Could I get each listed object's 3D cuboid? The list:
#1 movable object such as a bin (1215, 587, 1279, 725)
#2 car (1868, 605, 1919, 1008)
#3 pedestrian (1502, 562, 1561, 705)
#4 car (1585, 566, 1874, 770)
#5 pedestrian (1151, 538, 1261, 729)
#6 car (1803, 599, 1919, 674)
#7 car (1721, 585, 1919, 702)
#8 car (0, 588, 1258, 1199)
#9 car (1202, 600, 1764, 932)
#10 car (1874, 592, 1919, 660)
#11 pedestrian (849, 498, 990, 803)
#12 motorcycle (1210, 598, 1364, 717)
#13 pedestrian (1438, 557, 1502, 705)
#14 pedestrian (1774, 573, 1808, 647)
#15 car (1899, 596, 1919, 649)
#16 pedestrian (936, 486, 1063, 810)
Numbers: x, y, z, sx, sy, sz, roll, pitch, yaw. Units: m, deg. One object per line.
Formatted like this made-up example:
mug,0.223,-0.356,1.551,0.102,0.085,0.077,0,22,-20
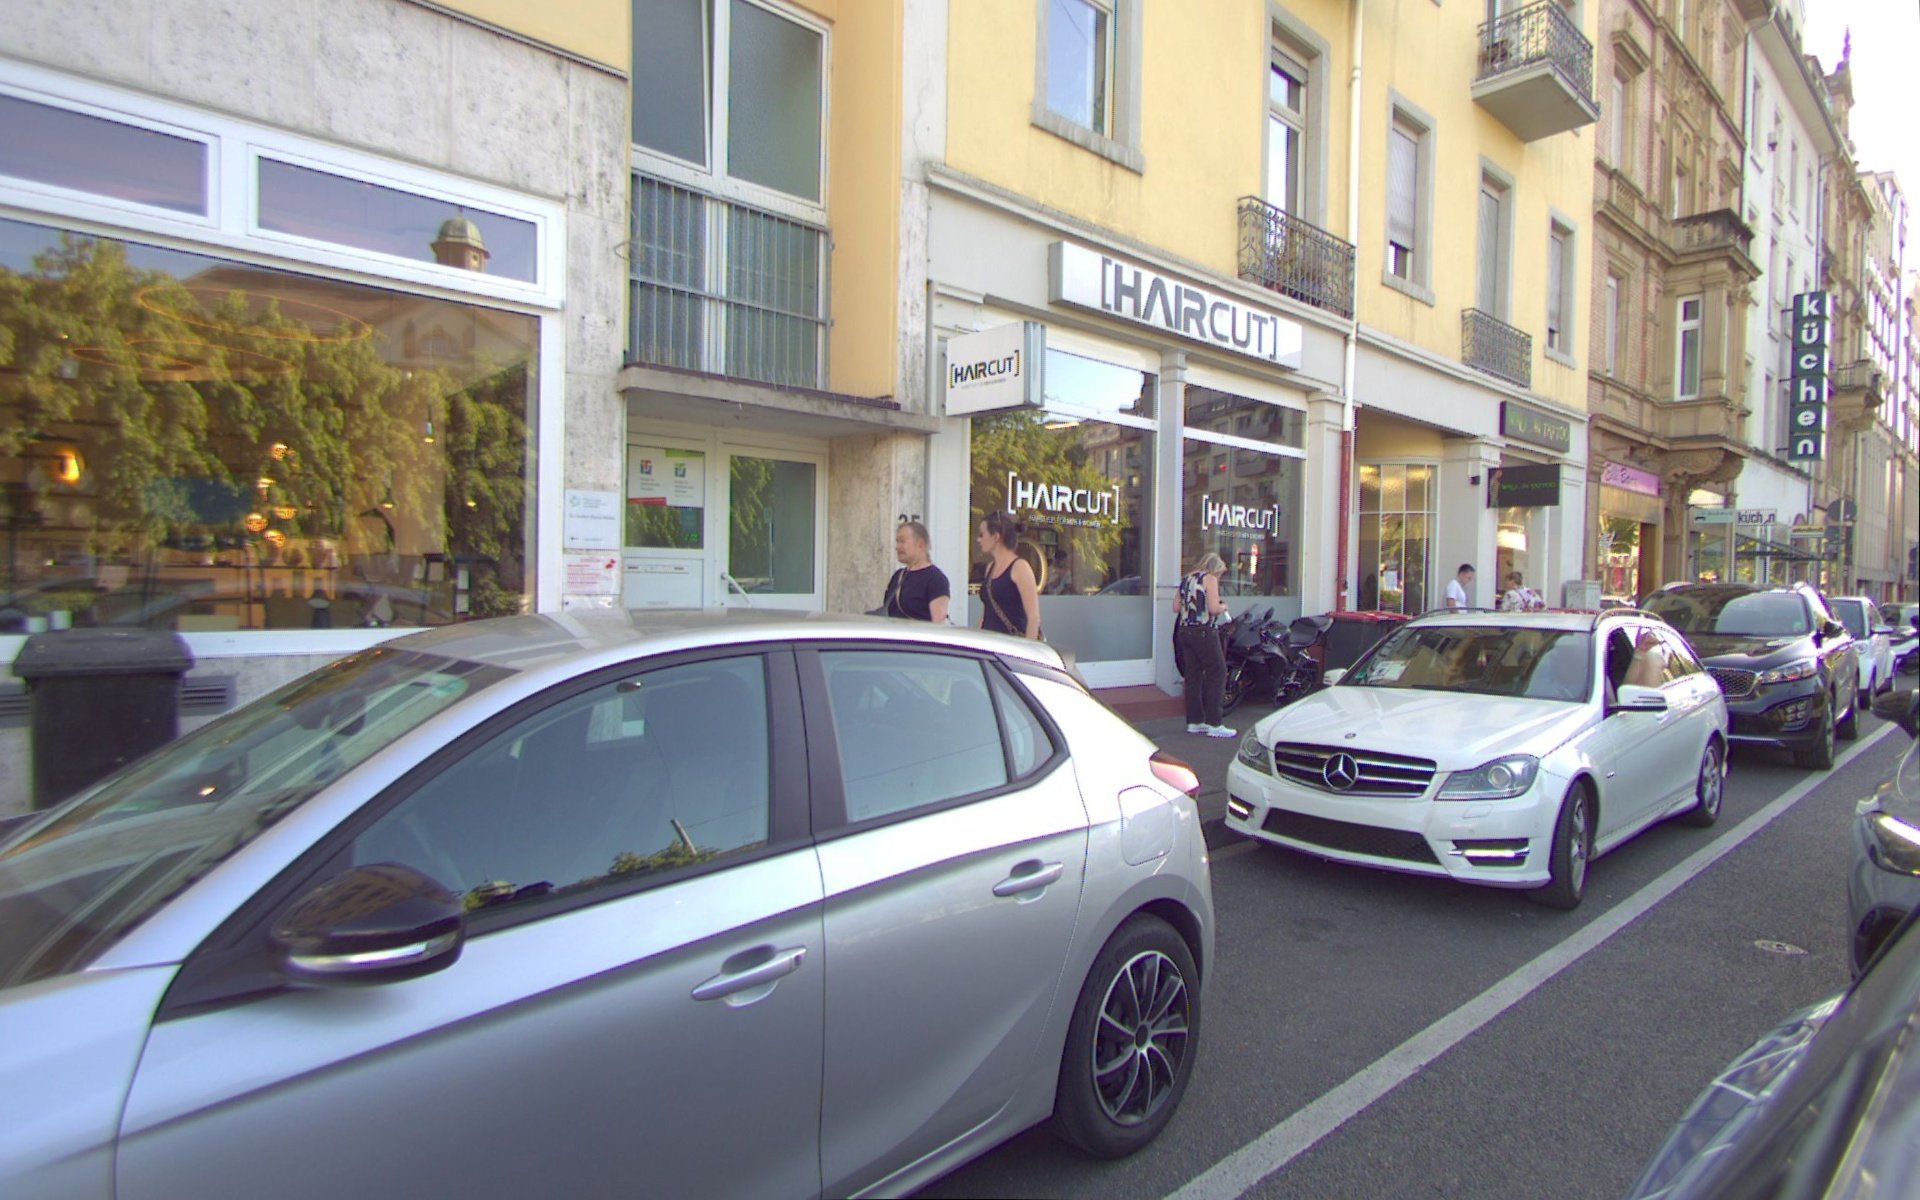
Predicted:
movable object such as a bin,2.713,0.509,9.578,0.387,1.253,0.391,0,3,-41
car,5.295,0.706,4.197,3.930,1.376,1.801,-1,0,-41
pedestrian,7.715,0.437,13.692,0.567,1.874,0.661,0,0,19
car,8.009,0.531,10.383,4.176,1.659,1.799,-1,0,-45
pedestrian,2.265,0.275,9.346,0.595,1.674,0.719,0,3,-40
car,18.132,0.650,19.949,4.016,1.282,1.800,-1,1,-42
car,13.093,0.546,15.322,4.016,1.546,1.800,-1,0,-42
car,-0.992,0.700,2.257,3.597,1.445,1.549,-1,1,-42
car,3.528,0.717,6.421,4.302,1.376,1.703,-1,0,-41
car,22.207,0.553,23.069,4.016,1.450,1.657,-1,0,-42
pedestrian,-0.245,0.293,6.377,0.733,1.806,0.565,1,0,18
motorcycle,3.437,0.551,10.549,1.920,1.092,0.567,-1,4,-41
pedestrian,7.056,0.416,14.008,0.679,2.008,0.375,1,1,-18
pedestrian,21.464,0.246,26.132,0.653,1.874,0.574,0,0,-40
car,26.652,0.587,27.178,3.773,1.357,1.800,-1,1,-42
pedestrian,0.224,0.243,5.614,0.647,1.686,0.647,0,0,4
